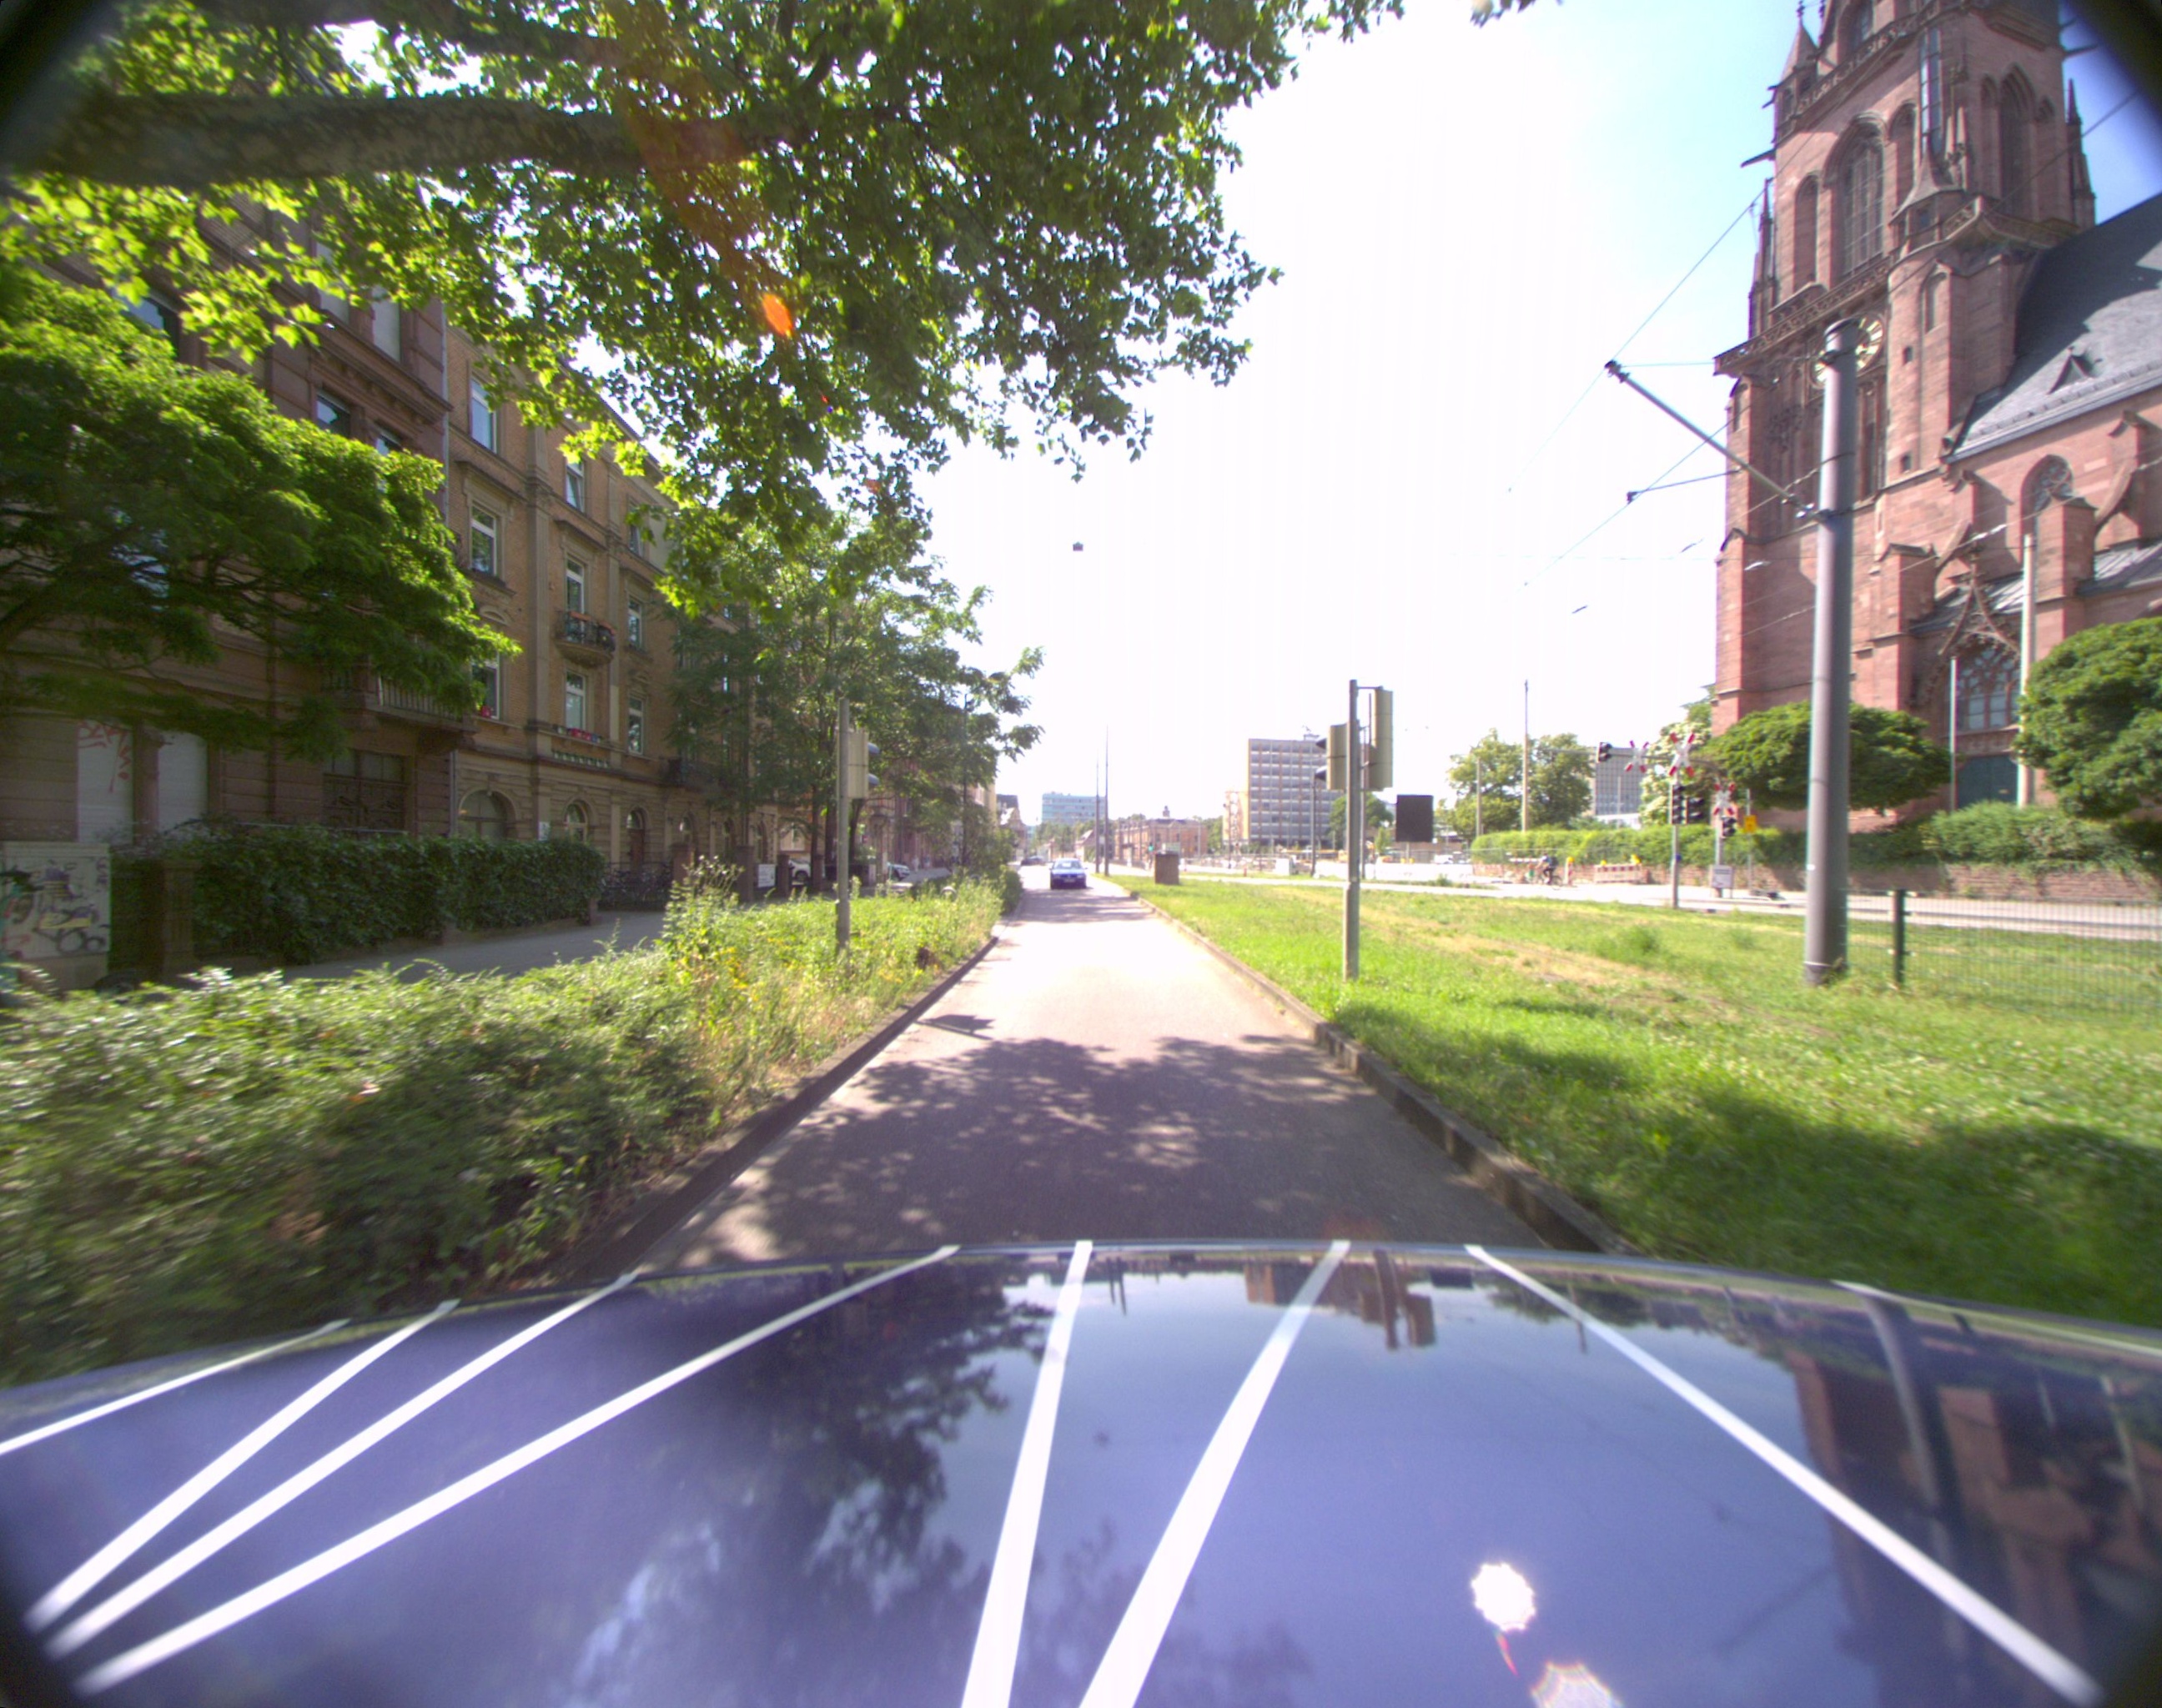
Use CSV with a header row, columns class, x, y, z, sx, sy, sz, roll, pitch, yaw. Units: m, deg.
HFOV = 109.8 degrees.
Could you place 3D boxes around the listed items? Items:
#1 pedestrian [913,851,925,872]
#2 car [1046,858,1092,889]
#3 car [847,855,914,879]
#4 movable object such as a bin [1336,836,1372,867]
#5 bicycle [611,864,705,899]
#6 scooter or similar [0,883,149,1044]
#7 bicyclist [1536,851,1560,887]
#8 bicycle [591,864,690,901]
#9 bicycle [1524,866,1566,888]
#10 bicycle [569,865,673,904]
class,x,y,z,sx,sy,sz,roll,pitch,yaw
pedestrian,-13.539,0.644,63.461,0.797,1.708,0.967,0,0,-1
car,-0.522,0.891,36.833,1.886,1.401,4.094,0,0,4
car,-13.228,0.847,50.363,4.093,1.507,1.886,0,0,-10
movable object such as a bin,34.488,-0.283,96.053,3.341,3.859,2.931,0,1,-34
bicycle,-13.929,0.878,25.122,2.584,1.105,1.111,0,0,-20
scooter or similar,-9.088,0.909,6.590,0.583,1.275,1.145,0,0,1
bicyclist,23.491,0.745,38.239,0.645,1.751,0.794,0,1,-10
bicycle,-13.789,0.884,23.857,2.584,1.105,0.772,0,0,-20
bicycle,23.453,1.166,38.426,0.657,1.040,1.968,0,0,-10
bicycle,-13.727,0.886,22.788,2.584,1.105,0.772,0,0,-25
